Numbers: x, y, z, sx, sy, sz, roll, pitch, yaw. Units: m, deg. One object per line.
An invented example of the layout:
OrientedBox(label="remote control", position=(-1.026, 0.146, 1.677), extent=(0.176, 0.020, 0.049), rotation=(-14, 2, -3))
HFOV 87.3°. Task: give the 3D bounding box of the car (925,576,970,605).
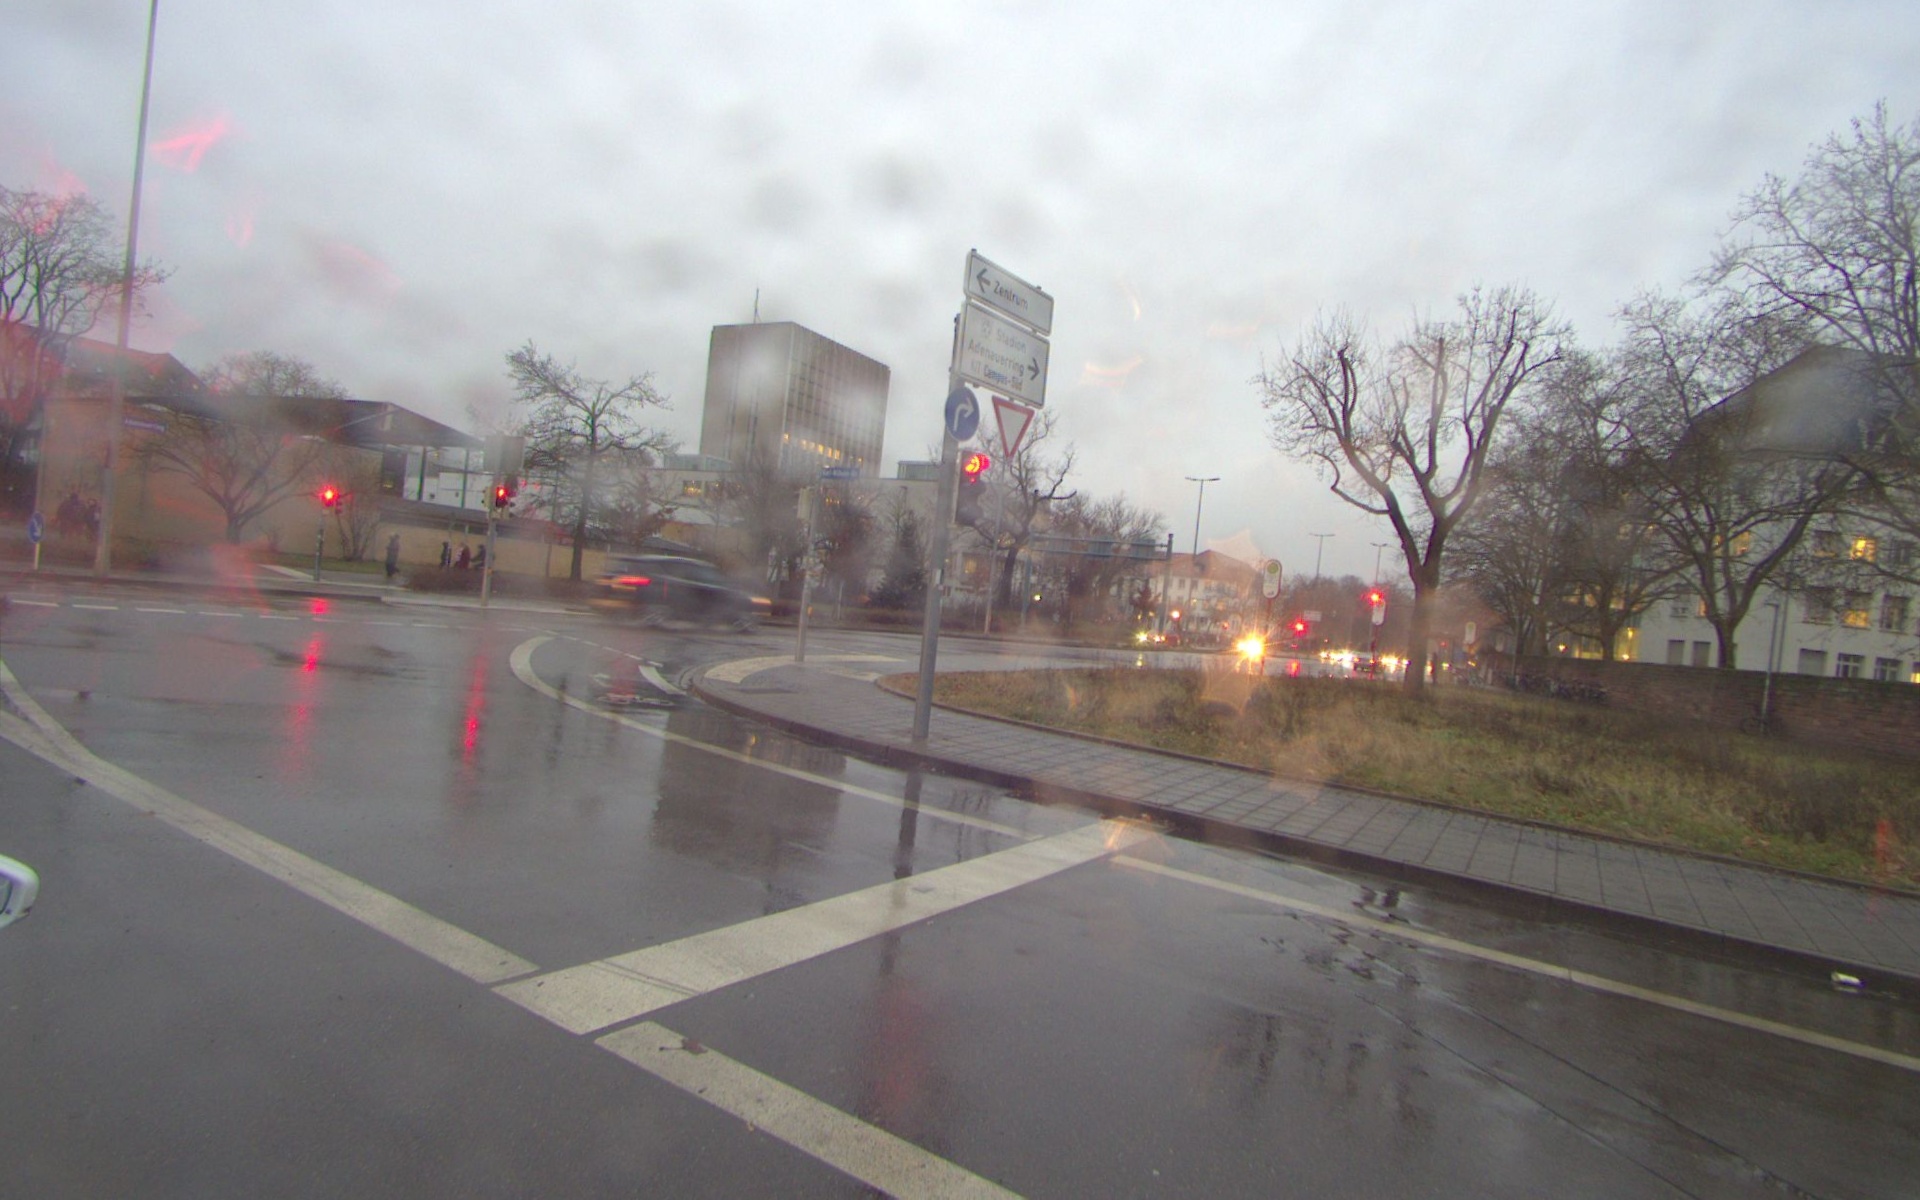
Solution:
OrientedBox(label="car", position=(-1.269, -0.979, 103.243), extent=(2.014, 2.452, 5.326), rotation=(6, 0, 30))

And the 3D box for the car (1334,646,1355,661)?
OrientedBox(label="car", position=(53.904, 7.492, 141.009), extent=(1.966, 1.783, 3.992), rotation=(7, 1, 29))

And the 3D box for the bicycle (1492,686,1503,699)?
OrientedBox(label="bicycle", position=(36.394, 6.247, 68.109), extent=(0.387, 0.795, 1.532), rotation=(7, -2, 20))

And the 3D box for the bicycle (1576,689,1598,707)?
OrientedBox(label="bicycle", position=(30.551, 4.768, 49.003), extent=(0.387, 0.795, 1.533), rotation=(7, -2, 14))

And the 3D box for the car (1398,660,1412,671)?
OrientedBox(label="car", position=(81.739, 12.044, 184.936), extent=(1.965, 1.783, 3.993), rotation=(7, 1, 27))

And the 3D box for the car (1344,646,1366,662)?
OrientedBox(label="car", position=(51.651, 7.073, 131.493), extent=(1.966, 1.783, 3.992), rotation=(7, 1, 29))

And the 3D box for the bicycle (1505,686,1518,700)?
OrientedBox(label="bicycle", position=(34.854, 5.866, 63.628), extent=(0.387, 0.795, 1.532), rotation=(7, -2, 20))

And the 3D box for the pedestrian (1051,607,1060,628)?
OrientedBox(label="pedestrian", position=(8.293, 1.524, 87.349), extent=(0.411, 1.725, 0.430), rotation=(8, 3, 44))

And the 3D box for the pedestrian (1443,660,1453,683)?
OrientedBox(label="pedestrian", position=(44.855, 6.596, 92.500), extent=(0.557, 2.040, 0.595), rotation=(8, 2, 33))

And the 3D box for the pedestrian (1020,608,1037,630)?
OrientedBox(label="pedestrian", position=(5.510, 1.511, 81.207), extent=(0.783, 1.624, 0.960), rotation=(8, 2, 39))

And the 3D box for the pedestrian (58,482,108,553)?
OrientedBox(label="pedestrian", position=(-28.557, -2.684, 32.775), extent=(0.871, 2.141, 0.893), rotation=(7, 2, 32))

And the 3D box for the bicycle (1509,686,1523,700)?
OrientedBox(label="bicycle", position=(34.353, 5.741, 62.154), extent=(0.387, 0.795, 1.532), rotation=(7, -2, 20))

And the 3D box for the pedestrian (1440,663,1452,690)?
OrientedBox(label="pedestrian", position=(30.155, 4.733, 62.421), extent=(0.462, 1.623, 0.486), rotation=(7, -1, 25))

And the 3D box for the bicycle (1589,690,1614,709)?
OrientedBox(label="bicycle", position=(30.277, 4.672, 47.478), extent=(0.352, 0.795, 1.415), rotation=(7, -2, 8))

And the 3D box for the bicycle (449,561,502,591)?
OrientedBox(label="bicycle", position=(-20.143, -0.996, 41.850), extent=(0.649, 1.061, 1.884), rotation=(7, 1, 33))

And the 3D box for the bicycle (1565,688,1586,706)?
OrientedBox(label="bicycle", position=(31.041, 4.875, 50.747), extent=(0.343, 0.848, 1.493), rotation=(7, -2, 13))

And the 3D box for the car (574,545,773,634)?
OrientedBox(label="car", position=(-6.832, -0.202, 24.408), extent=(1.814, 1.710, 4.305), rotation=(6, 0, 38))

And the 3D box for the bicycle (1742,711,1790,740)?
OrientedBox(label="bicycle", position=(28.204, 4.398, 35.228), extent=(0.387, 0.834, 1.386), rotation=(7, -2, -4))

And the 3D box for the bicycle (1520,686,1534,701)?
OrientedBox(label="bicycle", position=(33.326, 5.487, 59.147), extent=(0.387, 0.795, 1.532), rotation=(7, -2, 20))

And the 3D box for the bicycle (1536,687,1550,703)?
OrientedBox(label="bicycle", position=(32.416, 5.290, 55.955), extent=(0.387, 0.795, 1.607), rotation=(7, -2, 22))

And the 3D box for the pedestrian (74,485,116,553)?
OrientedBox(label="pedestrian", position=(-29.023, -2.704, 33.749), extent=(0.874, 2.141, 0.890), rotation=(8, 2, 44))

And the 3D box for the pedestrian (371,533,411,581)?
OrientedBox(label="pedestrian", position=(-23.251, -1.748, 41.089), extent=(0.904, 1.823, 0.997), rotation=(7, 2, 32))

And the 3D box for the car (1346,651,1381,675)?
OrientedBox(label="car", position=(33.488, 5.205, 83.362), extent=(1.811, 1.710, 4.311), rotation=(6, 0, 32))

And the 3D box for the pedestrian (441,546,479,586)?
OrientedBox(label="pedestrian", position=(-21.122, -1.424, 42.526), extent=(1.025, 1.553, 0.925), rotation=(7, 2, 32))

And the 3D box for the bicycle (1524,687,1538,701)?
OrientedBox(label="bicycle", position=(32.844, 5.404, 57.868), extent=(0.387, 0.795, 1.532), rotation=(7, -2, 19))

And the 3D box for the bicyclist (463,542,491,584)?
OrientedBox(label="bicyclist", position=(-20.079, -1.528, 41.830), extent=(0.649, 1.620, 0.685), rotation=(7, 2, 33))

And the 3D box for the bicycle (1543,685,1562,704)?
OrientedBox(label="bicycle", position=(31.845, 5.074, 54.090), extent=(0.387, 0.927, 1.532), rotation=(7, -2, 15))

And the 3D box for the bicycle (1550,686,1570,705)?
OrientedBox(label="bicycle", position=(31.359, 4.979, 52.559), extent=(0.387, 0.868, 1.532), rotation=(7, -2, 15))

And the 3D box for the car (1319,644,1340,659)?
OrientedBox(label="car", position=(49.293, 6.865, 134.149), extent=(1.966, 1.783, 3.992), rotation=(7, 1, 29))

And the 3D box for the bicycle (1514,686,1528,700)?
OrientedBox(label="bicycle", position=(33.832, 5.614, 60.666), extent=(0.387, 0.795, 1.532), rotation=(7, -2, 20))

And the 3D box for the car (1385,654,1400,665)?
OrientedBox(label="car", position=(69.613, 9.609, 161.849), extent=(1.745, 1.495, 3.915), rotation=(7, 1, 27))

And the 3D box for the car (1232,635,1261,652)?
OrientedBox(label="car", position=(29.797, 4.565, 104.600), extent=(1.781, 1.496, 4.417), rotation=(6, 0, 31))

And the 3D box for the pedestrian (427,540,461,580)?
OrientedBox(label="pedestrian", position=(-22.087, -1.703, 43.054), extent=(0.871, 1.553, 0.893), rotation=(7, 2, 32))

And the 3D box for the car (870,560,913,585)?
OrientedBox(label="car", position=(-7.202, -2.923, 106.282), extent=(2.014, 2.102, 4.892), rotation=(6, 0, 30))

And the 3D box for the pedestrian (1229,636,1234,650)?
OrientedBox(label="pedestrian", position=(34.222, 5.472, 126.897), extent=(0.404, 1.713, 0.427), rotation=(7, 2, 28))

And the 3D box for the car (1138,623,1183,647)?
OrientedBox(label="car", position=(15.212, 2.655, 76.173), extent=(1.781, 1.496, 4.417), rotation=(6, 0, 31))

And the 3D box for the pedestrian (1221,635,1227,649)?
OrientedBox(label="pedestrian", position=(32.975, 5.255, 125.670), extent=(0.404, 1.713, 0.561), rotation=(7, 2, 28))
